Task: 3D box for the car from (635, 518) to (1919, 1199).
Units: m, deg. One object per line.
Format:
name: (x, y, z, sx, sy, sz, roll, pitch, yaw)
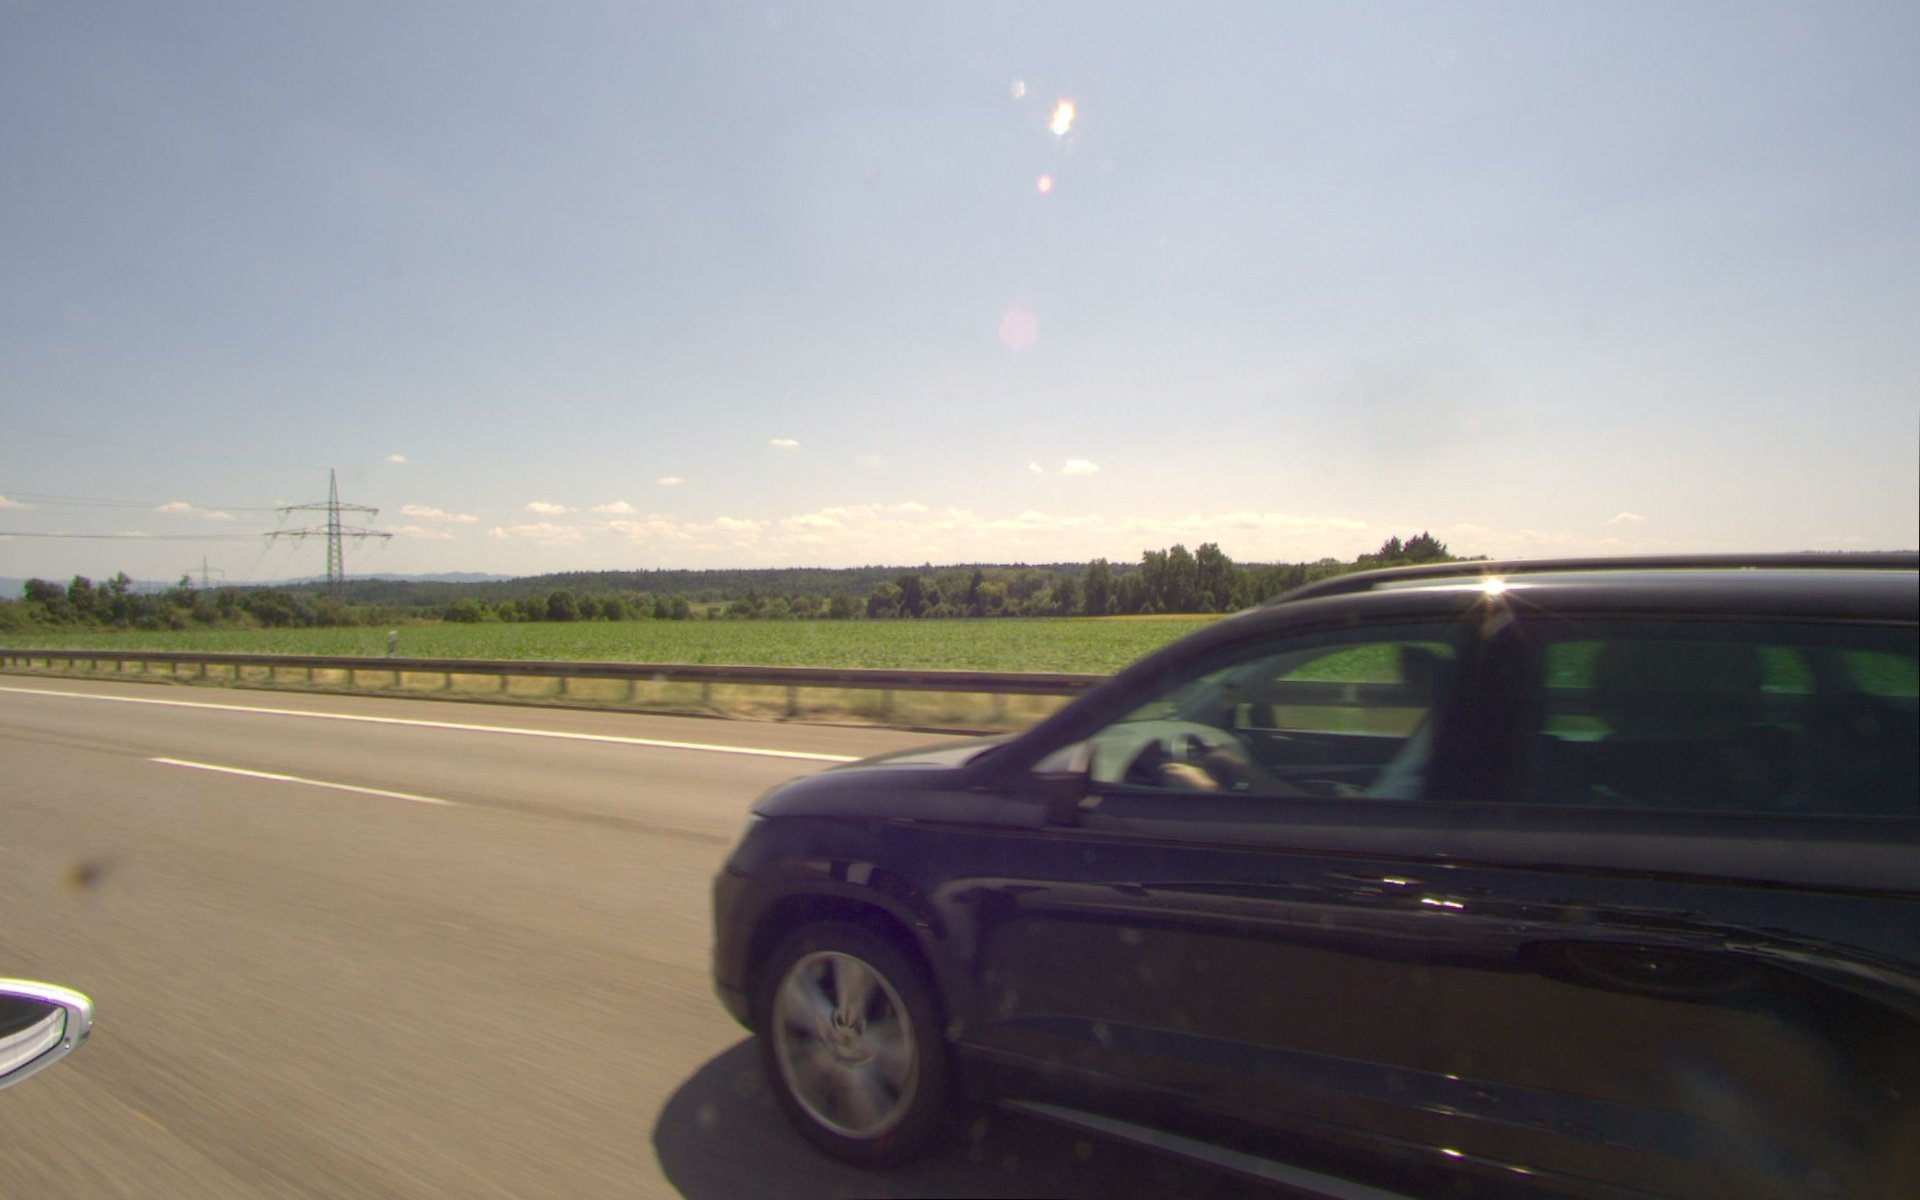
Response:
car: (1.025, 0.707, 2.972, 3.768, 1.582, 1.794, -1, -2, 32)
